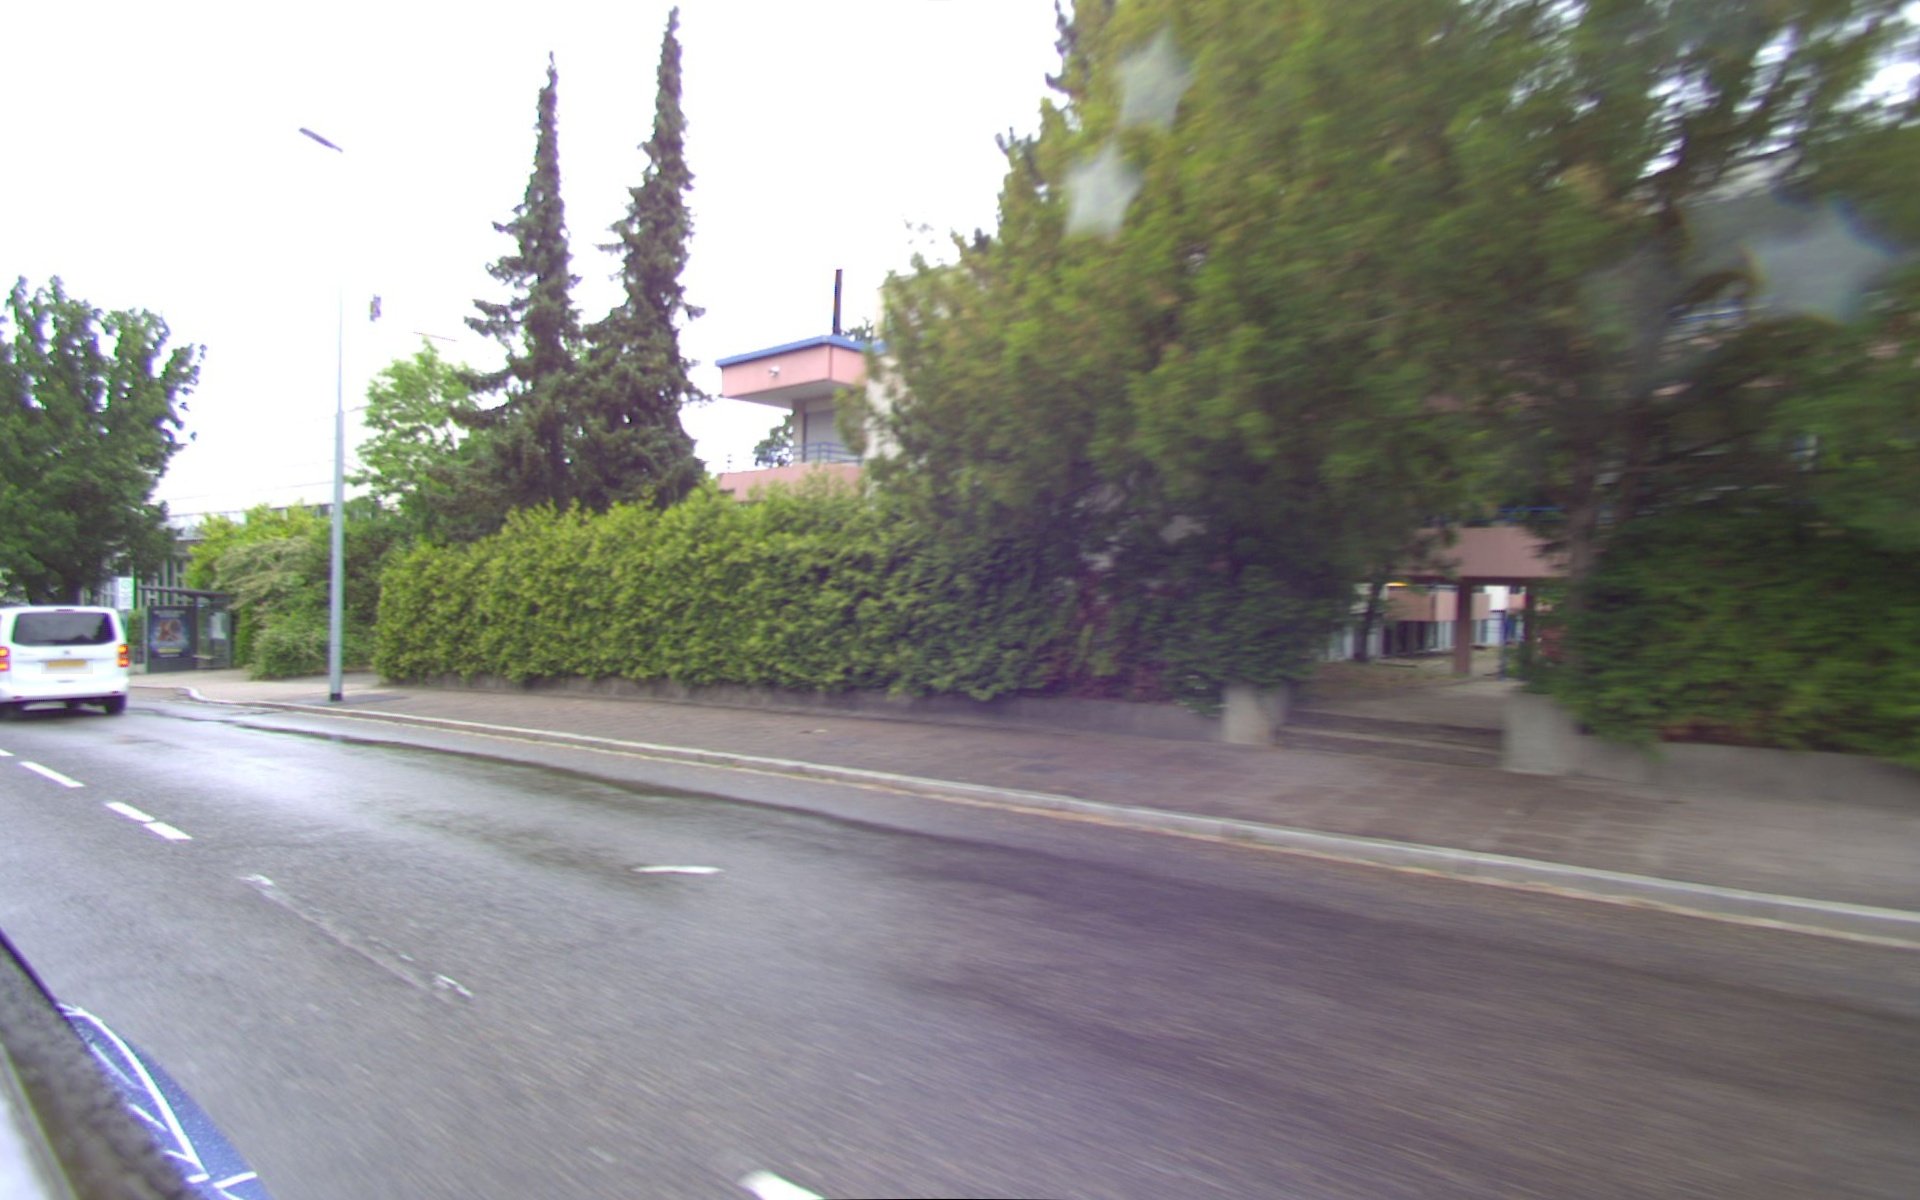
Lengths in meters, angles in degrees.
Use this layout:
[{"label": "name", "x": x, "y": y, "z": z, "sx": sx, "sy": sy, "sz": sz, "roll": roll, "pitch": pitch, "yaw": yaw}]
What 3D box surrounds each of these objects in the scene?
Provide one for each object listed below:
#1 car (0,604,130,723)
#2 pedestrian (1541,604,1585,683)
[{"label": "car", "x": -17.175, "y": 1.127, "z": 18.683, "sx": 5.023, "sy": 1.931, "sz": 1.845, "roll": -2, "pitch": -3, "yaw": 39}, {"label": "pedestrian", "x": 9.454, "y": 0.674, "z": 15.866, "sx": 0.532, "sy": 1.193, "sz": 0.408, "roll": -2, "pitch": 0, "yaw": 37}]
